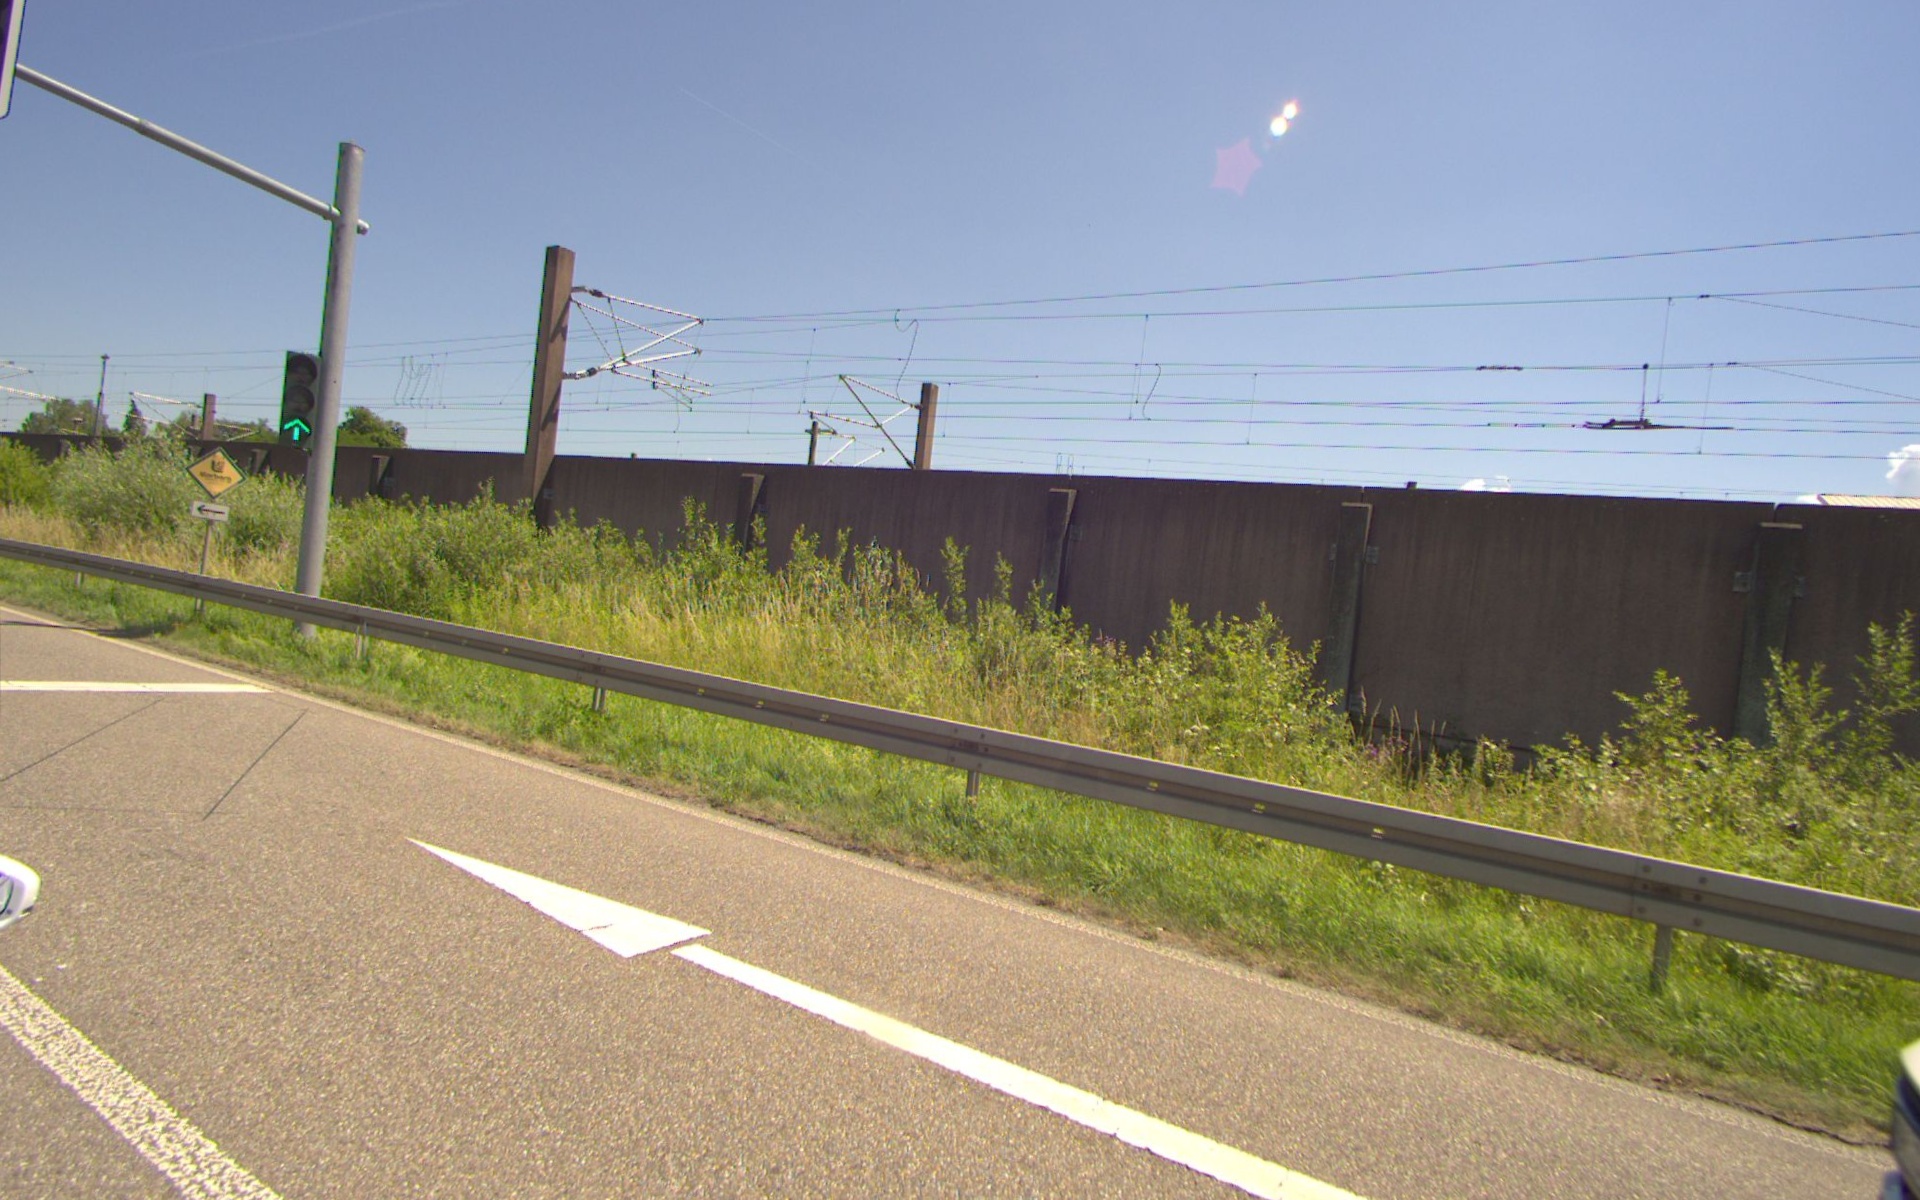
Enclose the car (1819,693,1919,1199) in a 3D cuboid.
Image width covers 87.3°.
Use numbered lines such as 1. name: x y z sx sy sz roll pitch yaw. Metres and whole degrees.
1. car: 4.004 1.203 1.127 4.205 1.582 1.822 7 -1 29
